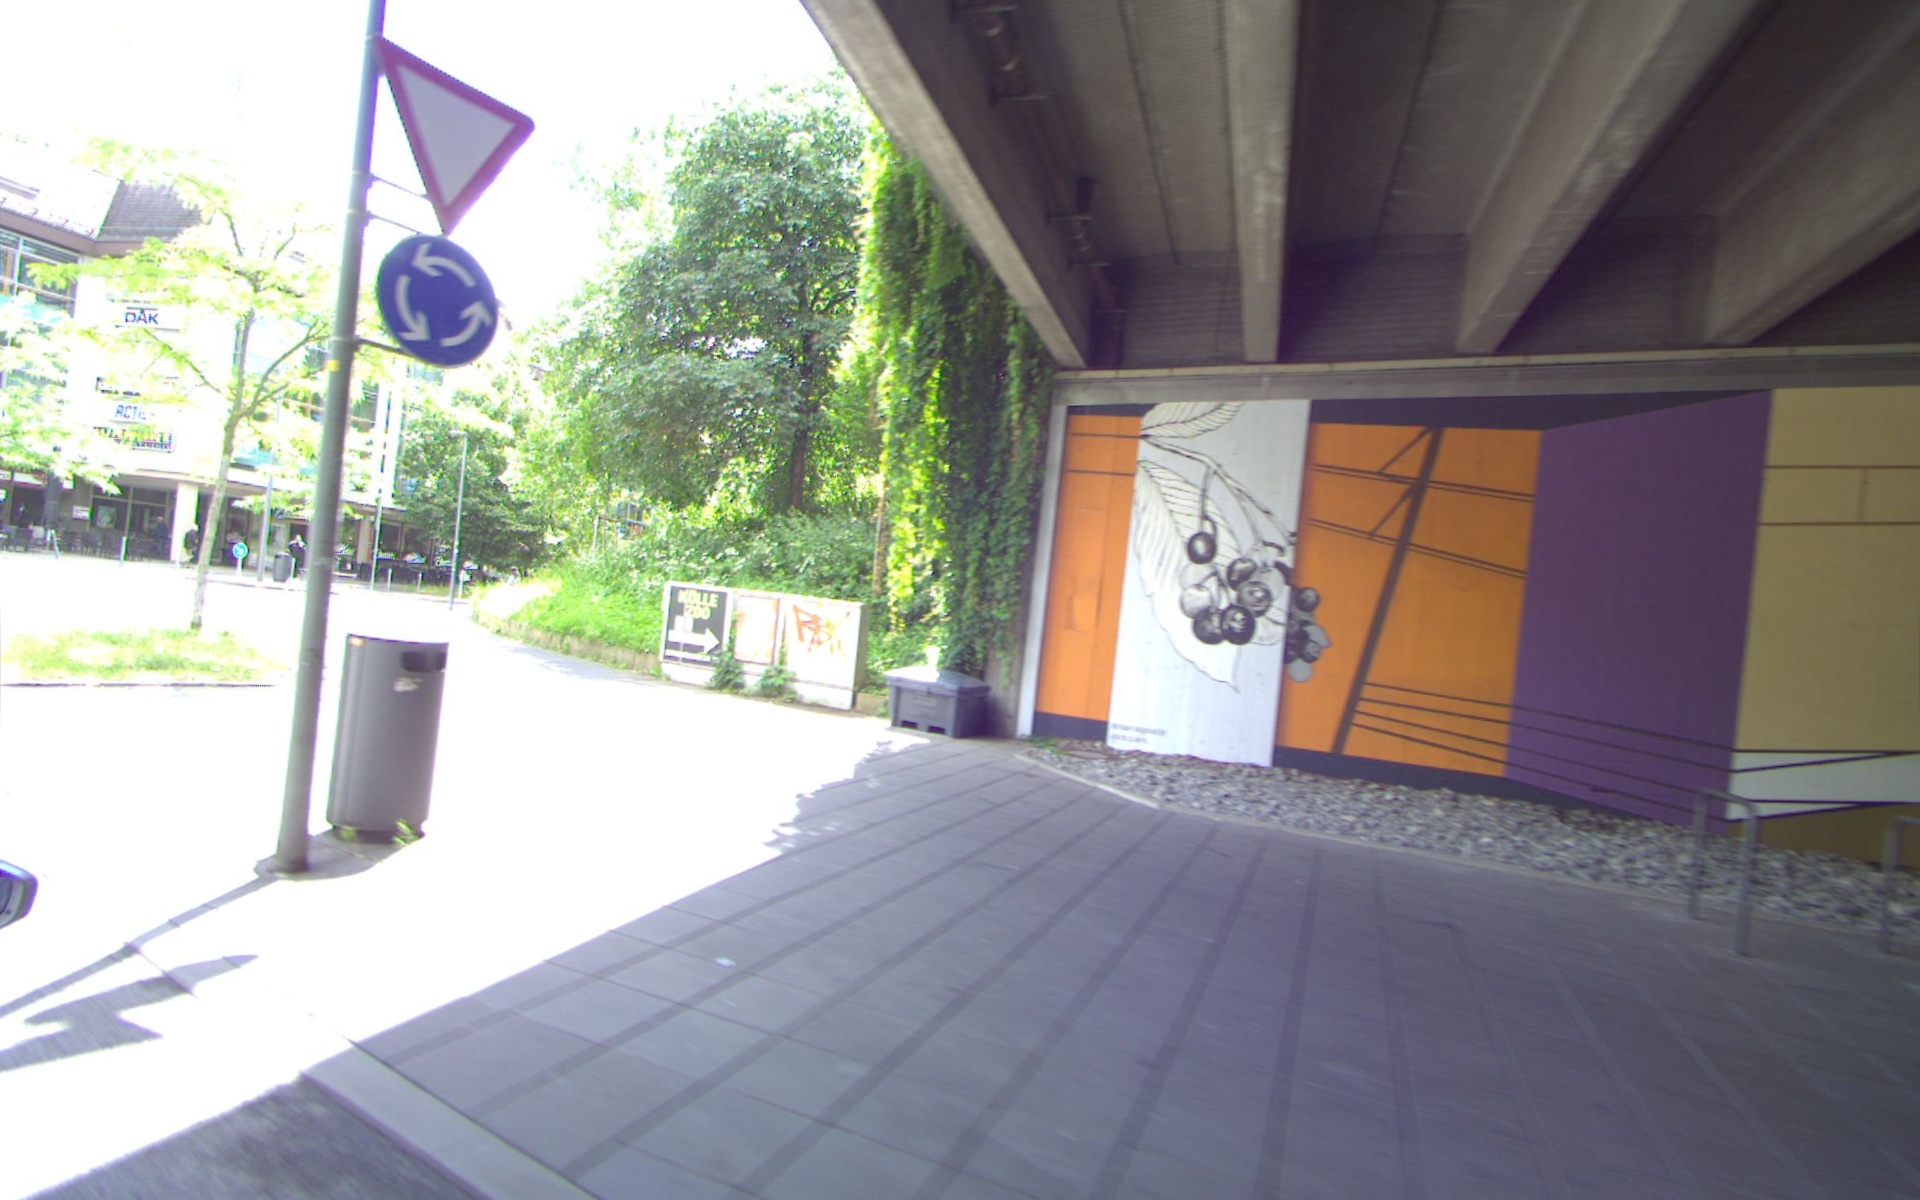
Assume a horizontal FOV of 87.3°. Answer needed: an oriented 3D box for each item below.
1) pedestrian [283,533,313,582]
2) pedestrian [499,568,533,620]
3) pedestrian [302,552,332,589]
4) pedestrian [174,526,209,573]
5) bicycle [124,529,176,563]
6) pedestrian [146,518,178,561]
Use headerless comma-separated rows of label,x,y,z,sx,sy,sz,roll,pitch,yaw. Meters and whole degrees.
pedestrian,-26.395,-1.682,40.101,0.685,1.844,0.616,7,3,19
pedestrian,-14.328,-0.187,32.437,0.757,1.572,0.774,8,-1,-29
pedestrian,-25.132,-1.153,39.316,0.685,1.300,0.617,7,-1,26
pedestrian,-29.212,-1.914,38.253,0.606,1.694,0.698,7,-1,1
bicycle,-34.222,-2.278,42.520,1.529,1.181,0.492,8,-3,-33
pedestrian,-34.097,-2.587,42.991,0.605,1.694,0.698,7,-1,13
